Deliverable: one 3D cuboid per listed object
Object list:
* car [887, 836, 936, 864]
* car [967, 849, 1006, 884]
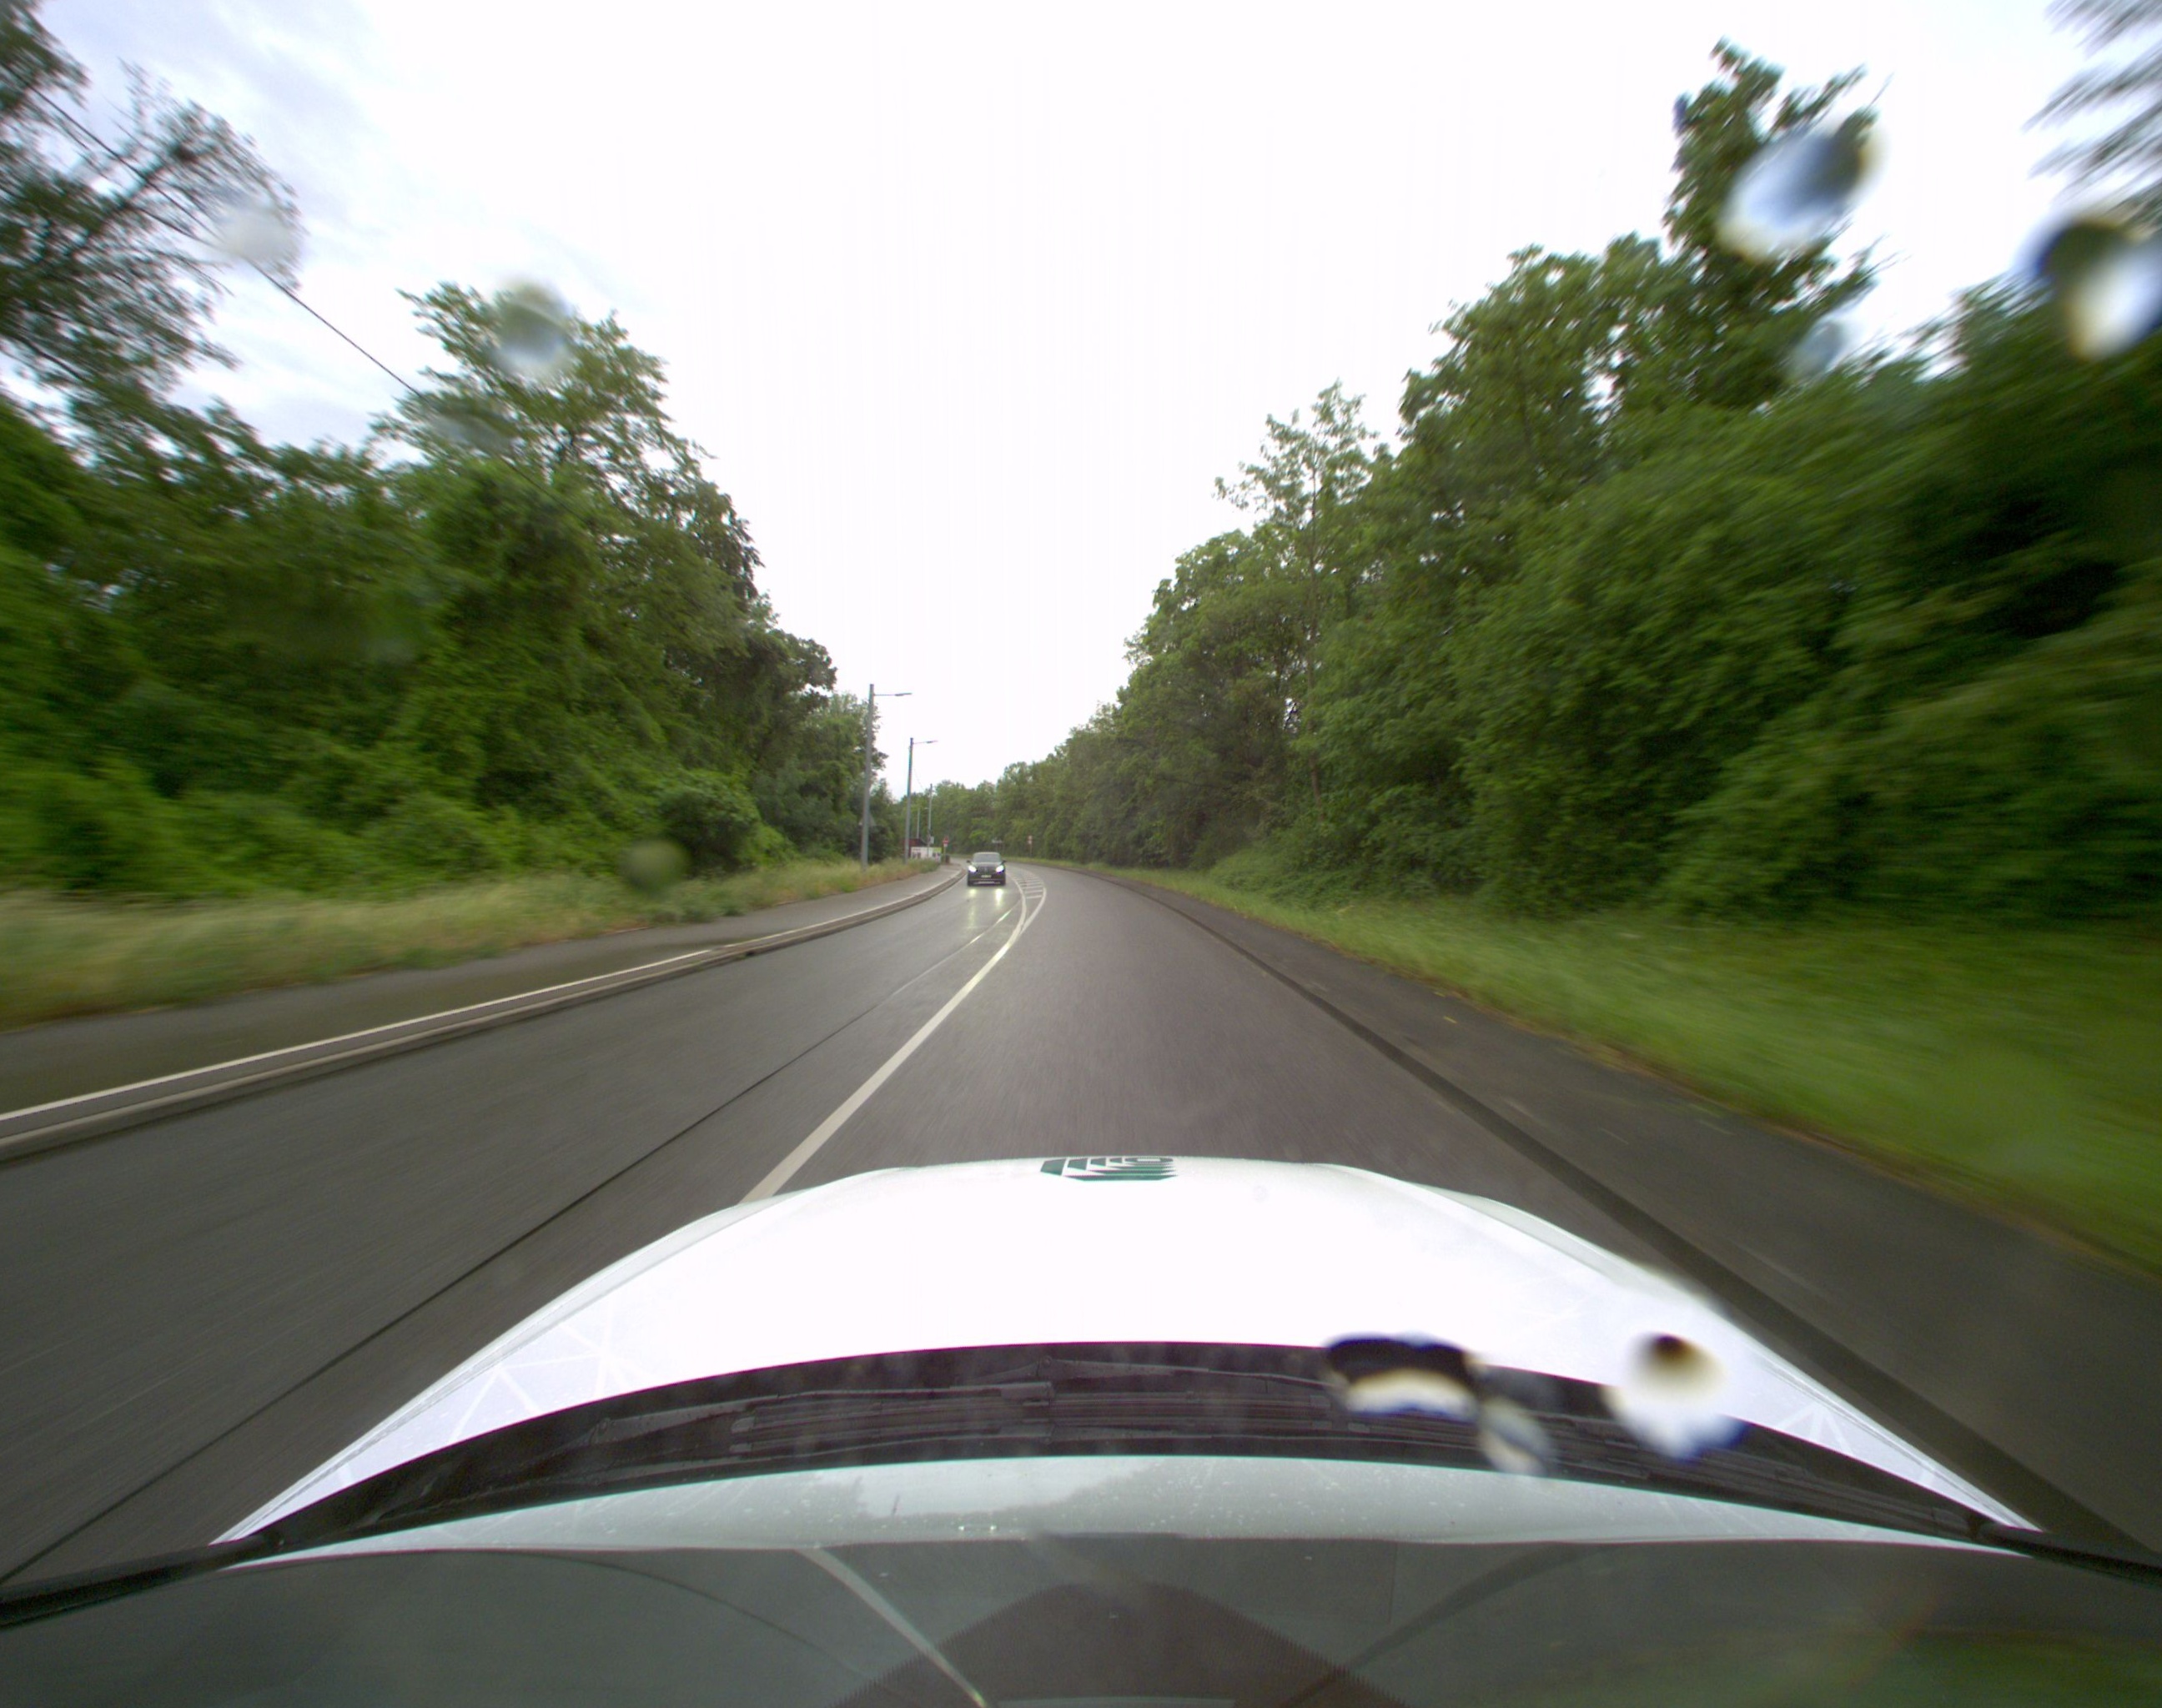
[{"bbox_3d":[-21.683,-0.553,103.904,5.963,3.502,1.988,0,0,-18],"label":"car"},{"bbox_3d":[-5.114,0.621,44.149,1.991,1.787,4.696,0,0,-7],"label":"car"}]
